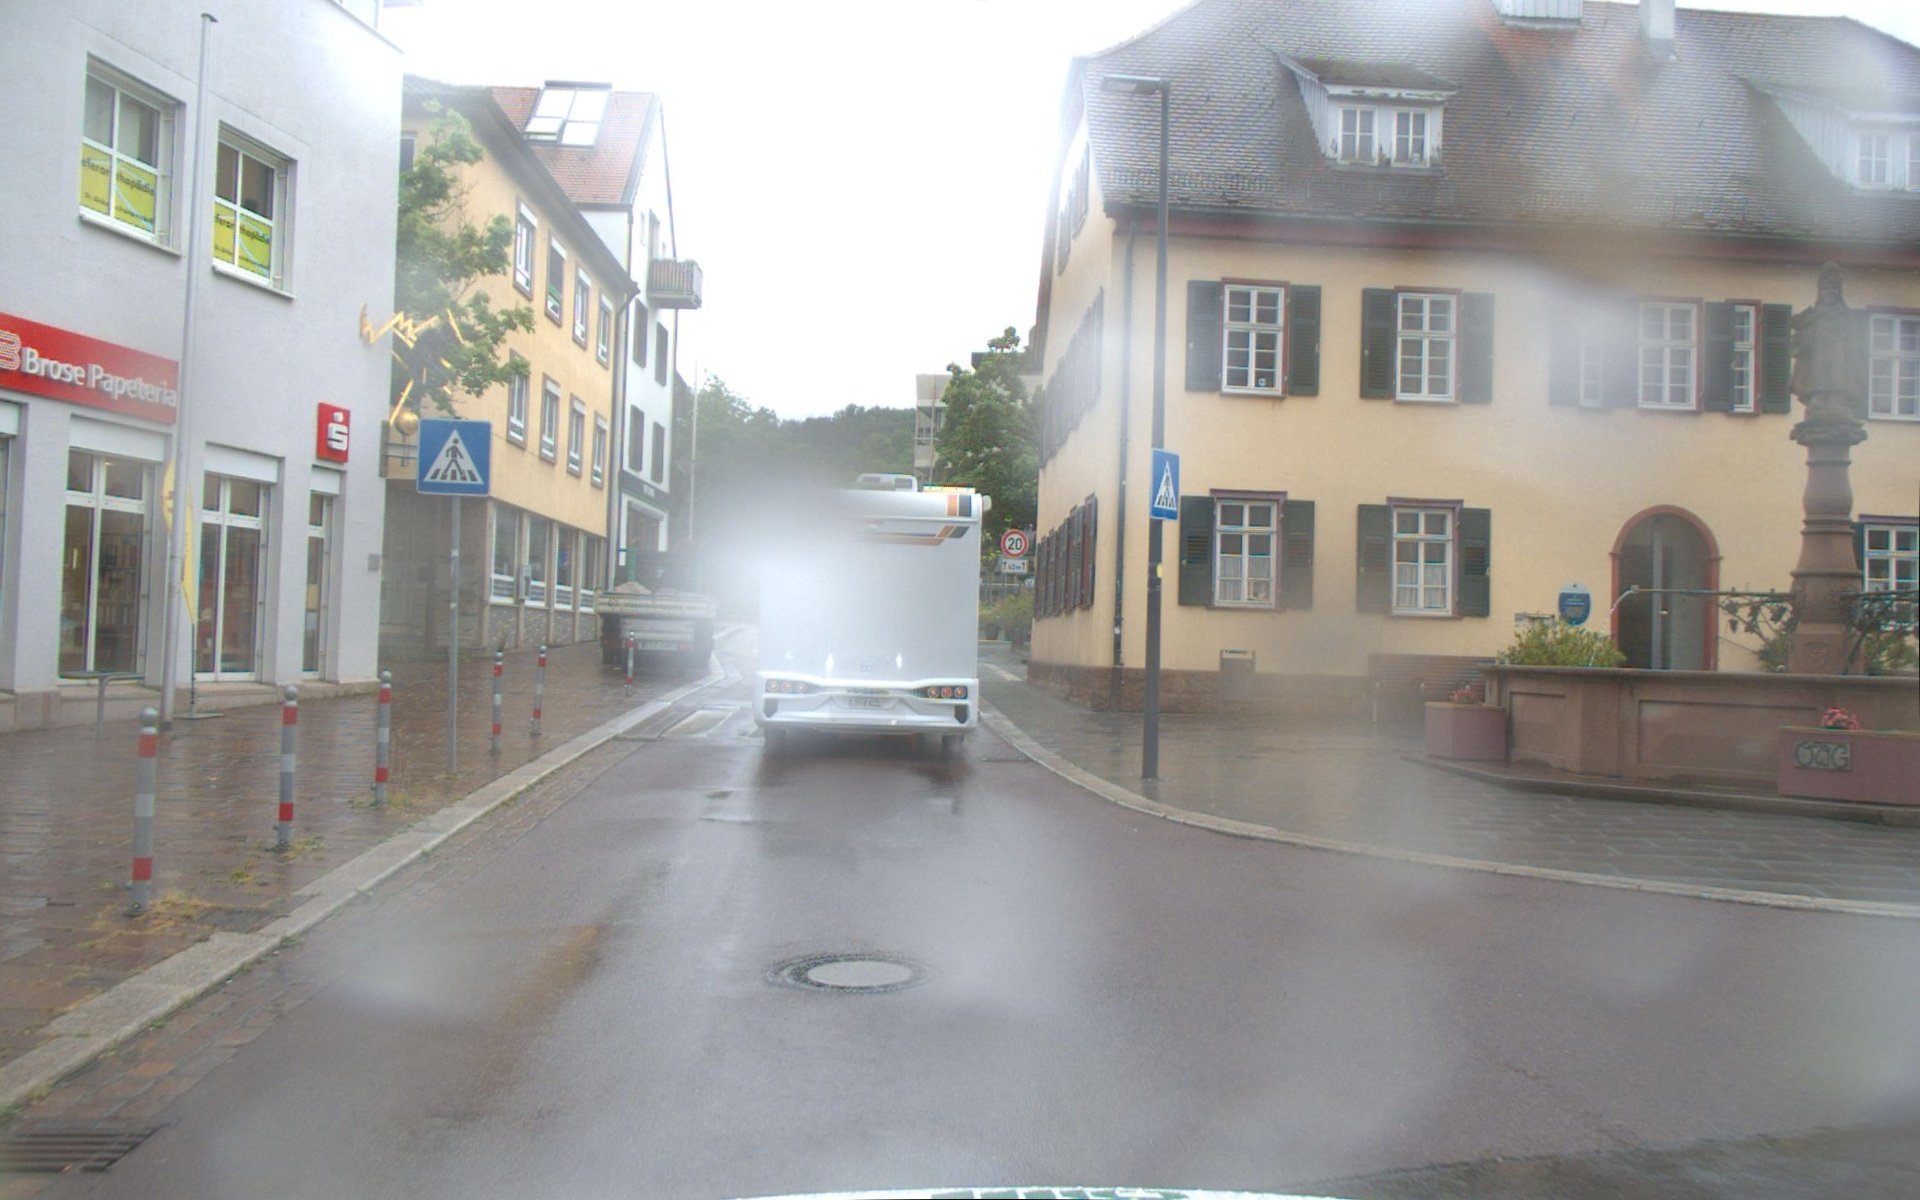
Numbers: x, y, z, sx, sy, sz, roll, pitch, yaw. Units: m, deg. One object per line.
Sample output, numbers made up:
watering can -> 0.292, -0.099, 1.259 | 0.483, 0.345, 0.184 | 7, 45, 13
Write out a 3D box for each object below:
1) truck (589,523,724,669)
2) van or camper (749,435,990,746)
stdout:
truck -> -6.291, 0.014, 34.980 | 2.236, 2.806, 5.562 | 1, -2, -5
van or camper -> -1.174, 0.015, 19.227 | 2.281, 2.970, 6.384 | 1, -2, -6
